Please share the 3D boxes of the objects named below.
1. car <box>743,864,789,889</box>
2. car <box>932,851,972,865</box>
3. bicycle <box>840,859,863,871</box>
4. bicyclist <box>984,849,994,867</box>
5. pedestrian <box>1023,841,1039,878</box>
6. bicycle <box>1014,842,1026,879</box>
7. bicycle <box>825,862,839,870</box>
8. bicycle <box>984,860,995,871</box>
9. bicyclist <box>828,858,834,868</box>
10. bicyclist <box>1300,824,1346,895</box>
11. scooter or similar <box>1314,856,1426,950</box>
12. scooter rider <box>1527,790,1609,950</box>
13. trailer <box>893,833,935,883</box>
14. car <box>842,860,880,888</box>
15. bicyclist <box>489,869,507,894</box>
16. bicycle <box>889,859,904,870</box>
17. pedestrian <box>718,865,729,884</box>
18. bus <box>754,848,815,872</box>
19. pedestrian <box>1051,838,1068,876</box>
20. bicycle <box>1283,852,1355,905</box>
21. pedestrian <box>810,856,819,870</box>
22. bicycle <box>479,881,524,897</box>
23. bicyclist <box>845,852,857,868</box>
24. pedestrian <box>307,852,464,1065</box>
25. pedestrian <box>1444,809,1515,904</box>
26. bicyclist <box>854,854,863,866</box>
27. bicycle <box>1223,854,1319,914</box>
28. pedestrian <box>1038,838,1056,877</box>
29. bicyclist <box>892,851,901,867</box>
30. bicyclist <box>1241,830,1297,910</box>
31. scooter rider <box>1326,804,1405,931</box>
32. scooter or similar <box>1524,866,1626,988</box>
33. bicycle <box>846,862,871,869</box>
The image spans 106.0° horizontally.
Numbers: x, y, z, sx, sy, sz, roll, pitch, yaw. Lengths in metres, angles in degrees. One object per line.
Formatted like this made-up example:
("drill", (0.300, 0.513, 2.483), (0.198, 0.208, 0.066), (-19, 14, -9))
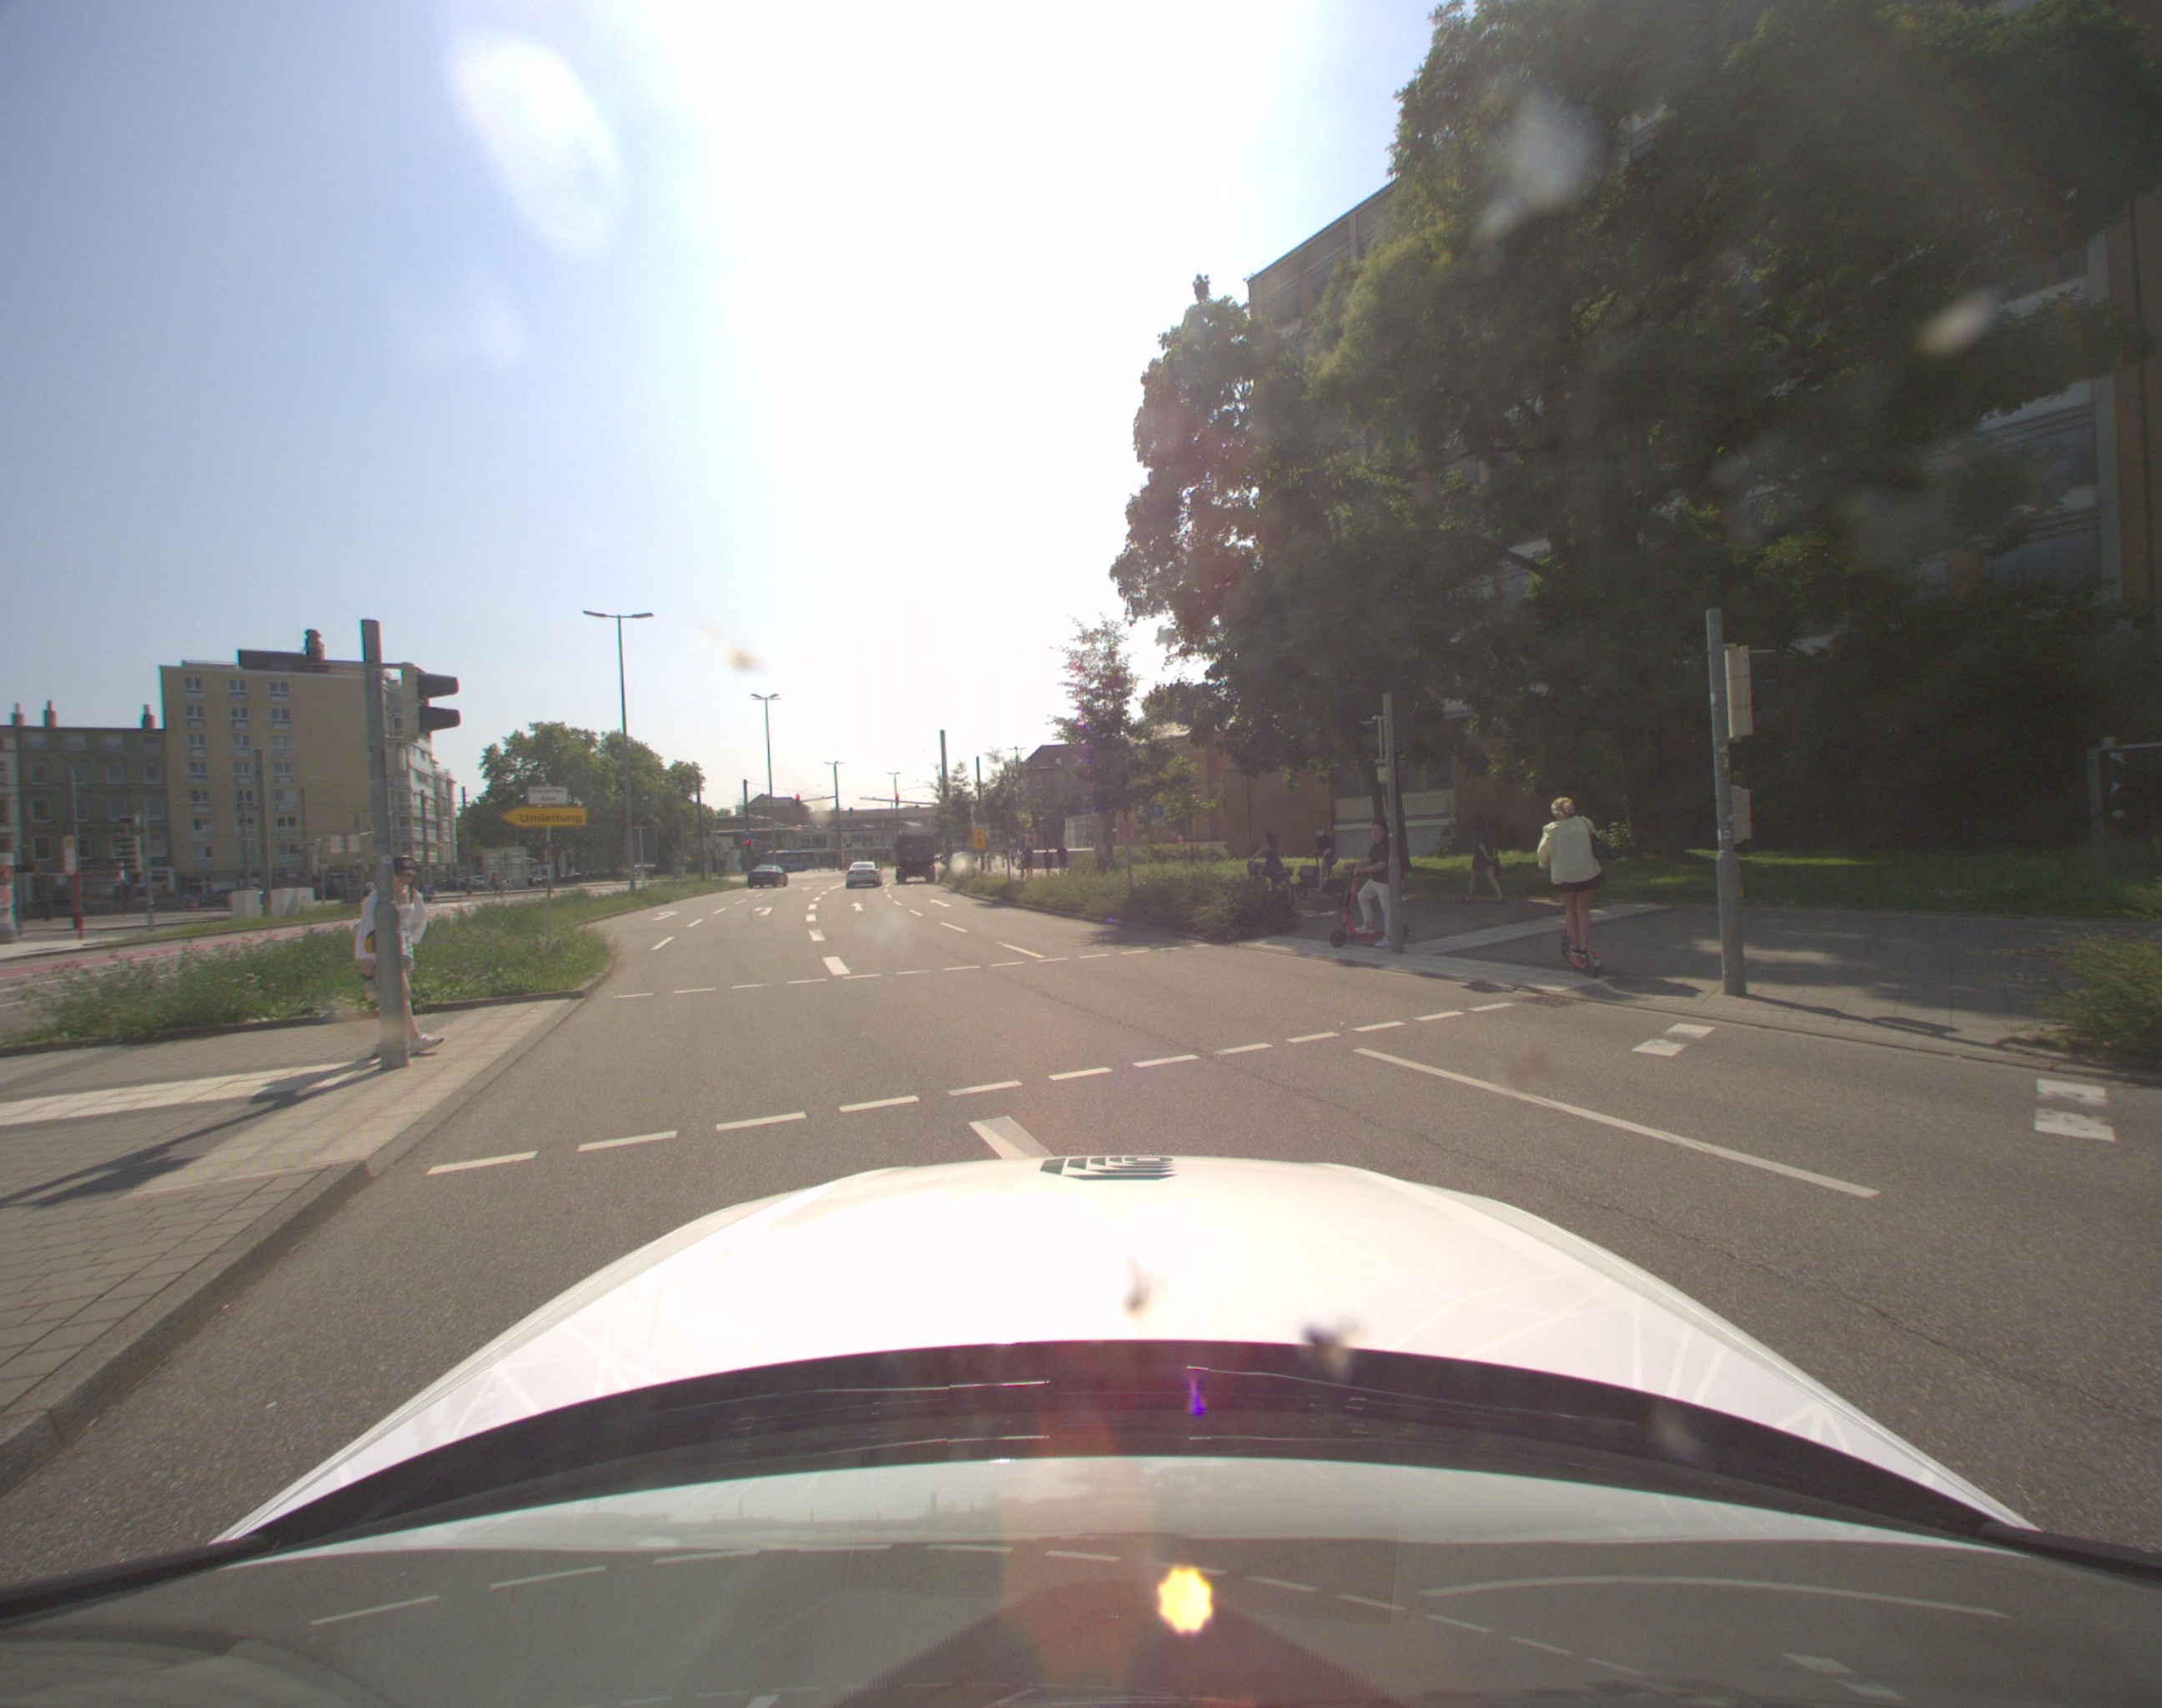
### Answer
("car", (-19.589, 1.383, 50.849), (1.757, 1.404, 3.970), (-2, 1, -8))
("car", (-15.529, 0.520, 98.170), (1.974, 1.438, 4.594), (-3, 0, 39))
("bicycle", (-23.894, 1.153, 84.852), (2.796, 1.178, 0.981), (-2, 1, 45))
("bicyclist", (-7.037, 0.329, 62.139), (0.674, 1.320, 0.681), (-3, 0, -10))
("pedestrian", (-2.602, 0.261, 42.316), (0.658, 1.860, 0.793), (-3, 0, 0))
("bicycle", (-3.155, 0.307, 42.050), (0.454, 1.860, 1.363), (-3, 1, 0))
("bicycle", (-31.329, 1.488, 102.391), (1.584, 0.985, 0.508), (-3, 0, 4))
("bicycle", (-7.016, 0.860, 62.183), (0.674, 0.776, 2.120), (-3, 1, -10))
("bicyclist", (-31.391, 1.121, 102.395), (0.501, 1.188, 0.508), (-3, 0, 4))
("bicyclist", (5.409, 0.119, 18.233), (0.550, 1.496, 0.799), (-5, 1, -15))
("scooter or similar", (4.184, 0.699, 11.857), (1.359, 1.234, 0.585), (-4, 0, 0))
("scooter rider", (5.341, 0.164, 8.967), (0.664, 1.699, 0.542), (-1, 3, 20))
("trailer", (-10.804, 0.251, 52.973), (2.464, 3.007, 6.302), (-1, 0, -11))
("car", (-12.671, 1.122, 47.053), (1.759, 1.455, 4.408), (-2, 1, -11))
("bicyclist", (-39.609, 1.840, 55.312), (0.844, 1.642, 0.601), (-3, 0, -30))
("bicycle", (-20.674, 1.149, 91.274), (0.690, 1.136, 2.054), (-3, 0, 19))
("pedestrian", (-26.184, 1.501, 59.656), (0.599, 1.268, 0.500), (-3, 3, -31))
("bus", (-40.808, 0.801, 112.730), (3.039, 2.931, 11.868), (-3, 1, 5))
("pedestrian", (-1.126, 0.163, 43.018), (0.775, 1.973, 0.754), (-3, 1, 2))
("bicycle", (5.366, 0.521, 18.509), (0.557, 1.060, 1.993), (-4, 2, -15))
("pedestrian", (-34.231, 1.119, 104.549), (0.780, 1.752, 0.809), (-3, 0, 3))
("bicycle", (-39.410, 2.381, 55.409), (2.424, 0.953, 0.598), (-3, 0, -30))
("bicyclist", (-23.962, 0.614, 84.897), (0.654, 1.654, 0.981), (-2, 1, 45))
("pedestrian", (-5.892, 0.853, 6.932), (0.695, 1.694, 0.608), (-3, 0, 4))
("pedestrian", (7.599, 0.043, 15.552), (0.709, 1.704, 0.872), (-5, 1, -24))
("bicyclist", (-29.010, 0.824, 106.242), (0.909, 1.501, 0.856), (-3, 0, -31))
("bicycle", (4.017, 0.614, 17.476), (0.697, 1.154, 2.353), (-5, 1, -22))
("pedestrian", (-1.773, 0.186, 42.251), (0.775, 1.973, 0.754), (-3, 1, 2))
("bicyclist", (-20.674, 0.562, 91.339), (0.685, 1.650, 0.623), (-2, 1, 19))
("bicyclist", (4.011, 0.335, 17.429), (0.693, 1.598, 0.837), (-5, 1, -23))
("scooter rider", (4.104, 0.181, 11.799), (0.800, 1.739, 0.689), (-4, 0, 0))
("scooter or similar", (5.360, 0.735, 8.936), (0.551, 1.060, 2.015), (-2, 2, 20))
("bicycle", (-29.017, 1.532, 106.228), (2.954, 0.727, 0.856), (-3, 0, -31))
